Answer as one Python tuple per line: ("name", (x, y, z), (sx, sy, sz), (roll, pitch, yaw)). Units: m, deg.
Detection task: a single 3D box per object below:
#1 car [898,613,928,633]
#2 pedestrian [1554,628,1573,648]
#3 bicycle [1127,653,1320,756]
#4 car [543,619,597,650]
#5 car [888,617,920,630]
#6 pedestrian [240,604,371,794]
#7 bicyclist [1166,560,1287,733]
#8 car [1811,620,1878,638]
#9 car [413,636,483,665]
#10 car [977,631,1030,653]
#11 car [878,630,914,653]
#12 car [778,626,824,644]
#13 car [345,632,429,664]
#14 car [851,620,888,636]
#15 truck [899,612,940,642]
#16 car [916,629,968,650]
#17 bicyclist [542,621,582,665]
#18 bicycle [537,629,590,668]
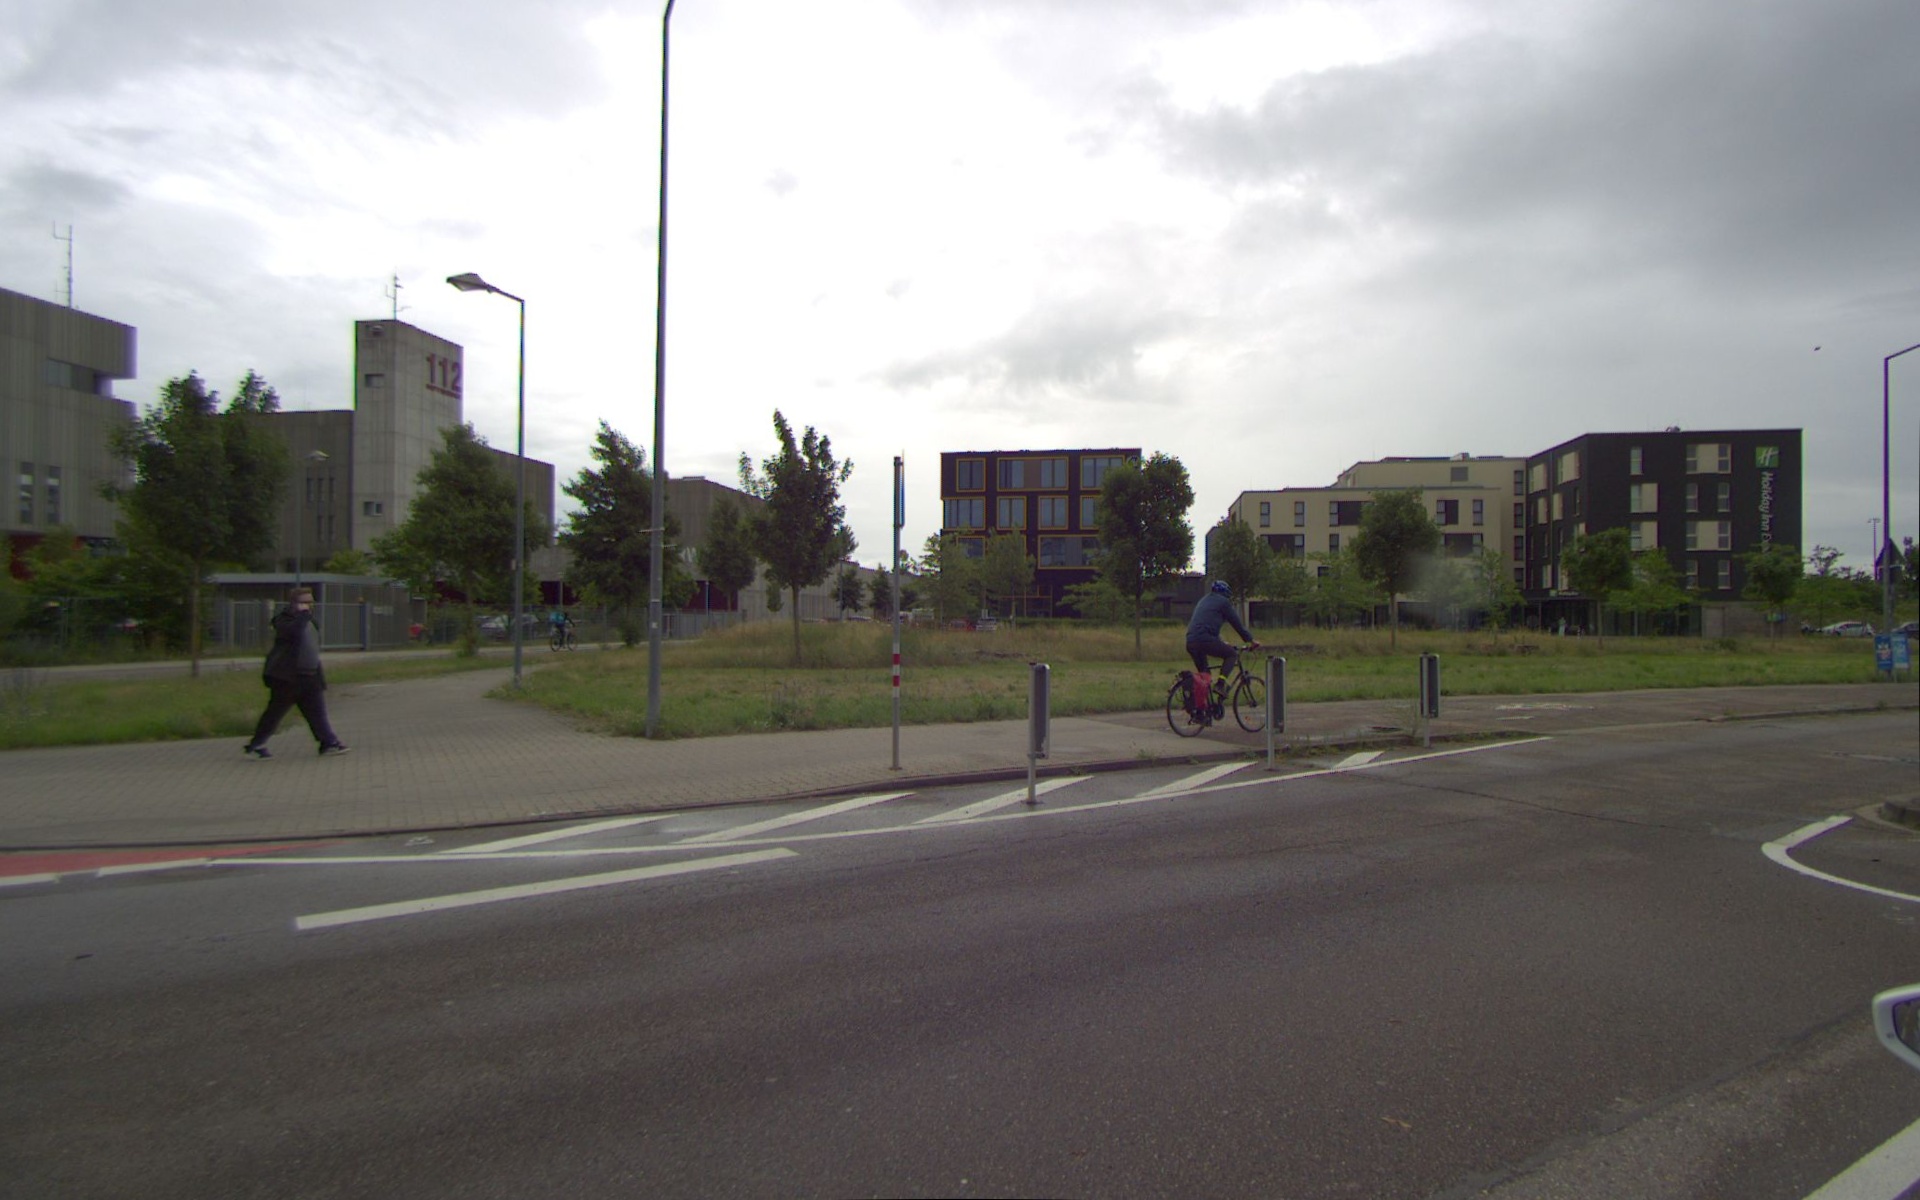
("car", (-6.644, 3.294, 142.367), (4.170, 2.758, 2.001), (0, -1, 2))
("pedestrian", (47.709, 3.006, 79.465), (0.859, 1.591, 0.953), (-1, -1, -8))
("bicycle", (3.299, 1.250, 12.481), (2.441, 1.066, 0.879), (-1, -1, -32))
("car", (-27.405, 2.402, 70.726), (1.960, 2.040, 4.002), (-1, -1, 4))
("car", (-7.671, 3.222, 138.106), (4.170, 1.795, 2.001), (0, -1, 2))
("pedestrian", (-6.662, 0.952, 10.226), (1.067, 1.806, 0.838), (-1, -1, -36))
("bicyclist", (3.315, 0.553, 12.508), (1.164, 2.040, 0.857), (-1, -1, -32))
("car", (77.372, 2.518, 87.900), (4.071, 1.537, 2.000), (-1, -1, 1))
("car", (-32.486, 3.187, 63.819), (1.778, 1.762, 4.002), (0, -1, 14))
("car", (3.311, 3.212, 76.290), (3.920, 1.543, 2.001), (-2, -2, 4))
("car", (-5.564, 3.607, 88.309), (2.163, 1.889, 5.101), (-1, -1, 7))
("car", (-14.977, 3.302, 94.964), (3.920, 1.543, 2.001), (-2, -2, 4))
("car", (-30.817, 2.527, 54.110), (1.737, 1.617, 4.003), (0, -1, 11))
("car", (-10.864, 3.364, 120.220), (4.170, 1.795, 2.001), (0, -1, 2))
("truck", (-3.858, 2.561, 97.886), (2.782, 2.742, 7.324), (-1, -1, 7))
("car", (-1.422, 3.152, 79.859), (3.920, 1.543, 2.001), (-2, -2, 4))
("bicyclist", (-17.553, 1.884, 44.331), (1.055, 1.924, 1.403), (-1, -1, 7))
("bicycle", (-17.491, 2.113, 44.386), (1.064, 1.605, 2.501), (-1, -1, 8))
